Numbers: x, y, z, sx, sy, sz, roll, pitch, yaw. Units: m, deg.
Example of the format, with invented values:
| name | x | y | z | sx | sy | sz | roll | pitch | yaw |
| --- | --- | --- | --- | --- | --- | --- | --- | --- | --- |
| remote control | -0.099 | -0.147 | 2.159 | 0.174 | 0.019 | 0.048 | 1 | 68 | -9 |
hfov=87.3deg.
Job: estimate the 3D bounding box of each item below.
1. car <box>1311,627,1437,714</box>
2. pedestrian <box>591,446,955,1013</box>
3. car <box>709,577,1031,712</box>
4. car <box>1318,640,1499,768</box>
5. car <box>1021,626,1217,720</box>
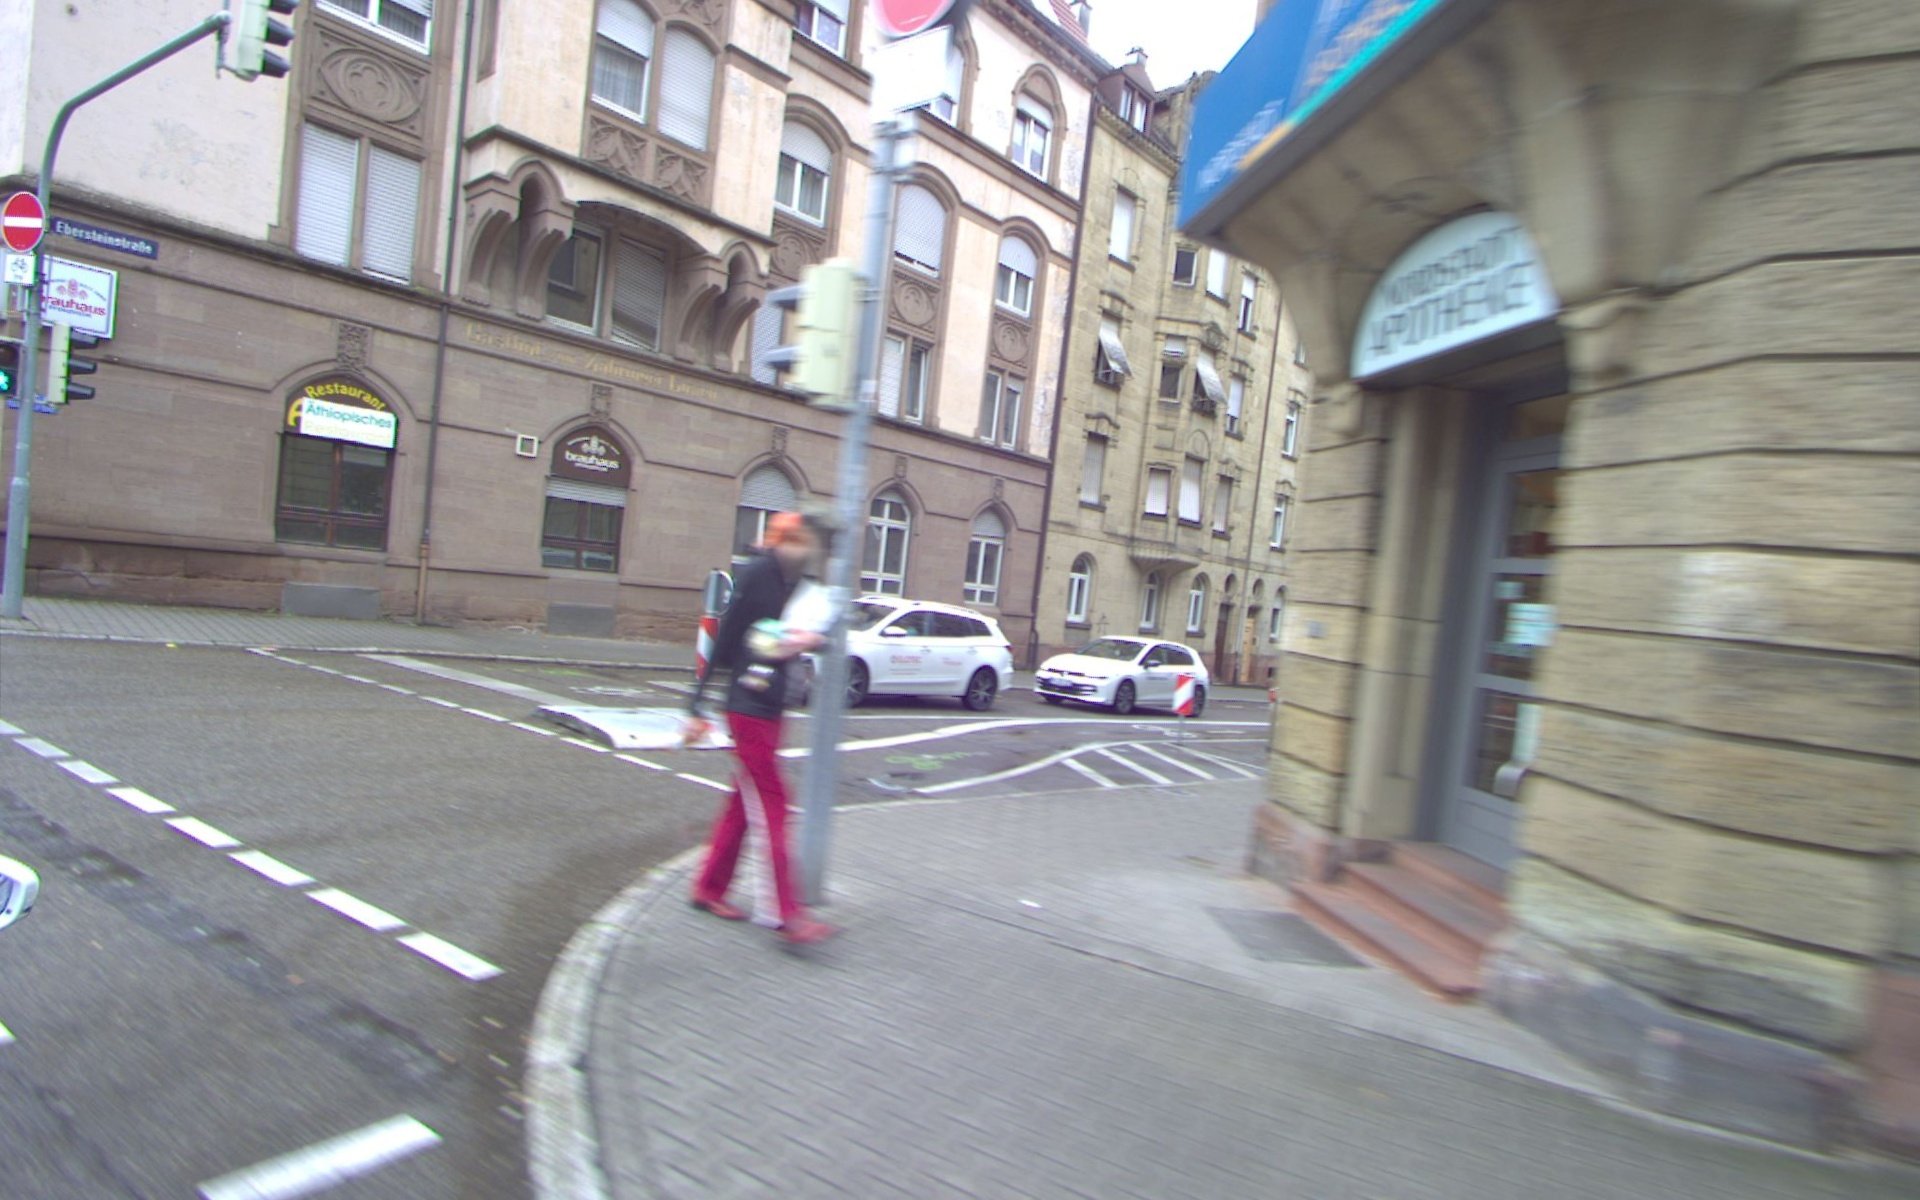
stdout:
| name | x | y | z | sx | sy | sz | roll | pitch | yaw |
| --- | --- | --- | --- | --- | --- | --- | --- | --- | --- |
| car | 14.632 | 2.523 | 35.377 | 2.097 | 2.564 | 5.446 | 6 | -2 | 43 |
| pedestrian | -0.771 | 0.431 | 4.085 | 1.074 | 1.973 | 0.697 | 8 | 1 | 38 |
| car | -1.176 | 0.721 | 14.849 | 1.819 | 1.527 | 4.549 | 4 | -3 | 45 |
| car | 8.544 | 1.966 | 18.977 | 1.816 | 1.923 | 4.161 | 8 | 0 | 41 |
| car | 3.180 | 1.452 | 19.529 | 1.703 | 1.443 | 4.061 | 6 | -2 | 42 |
